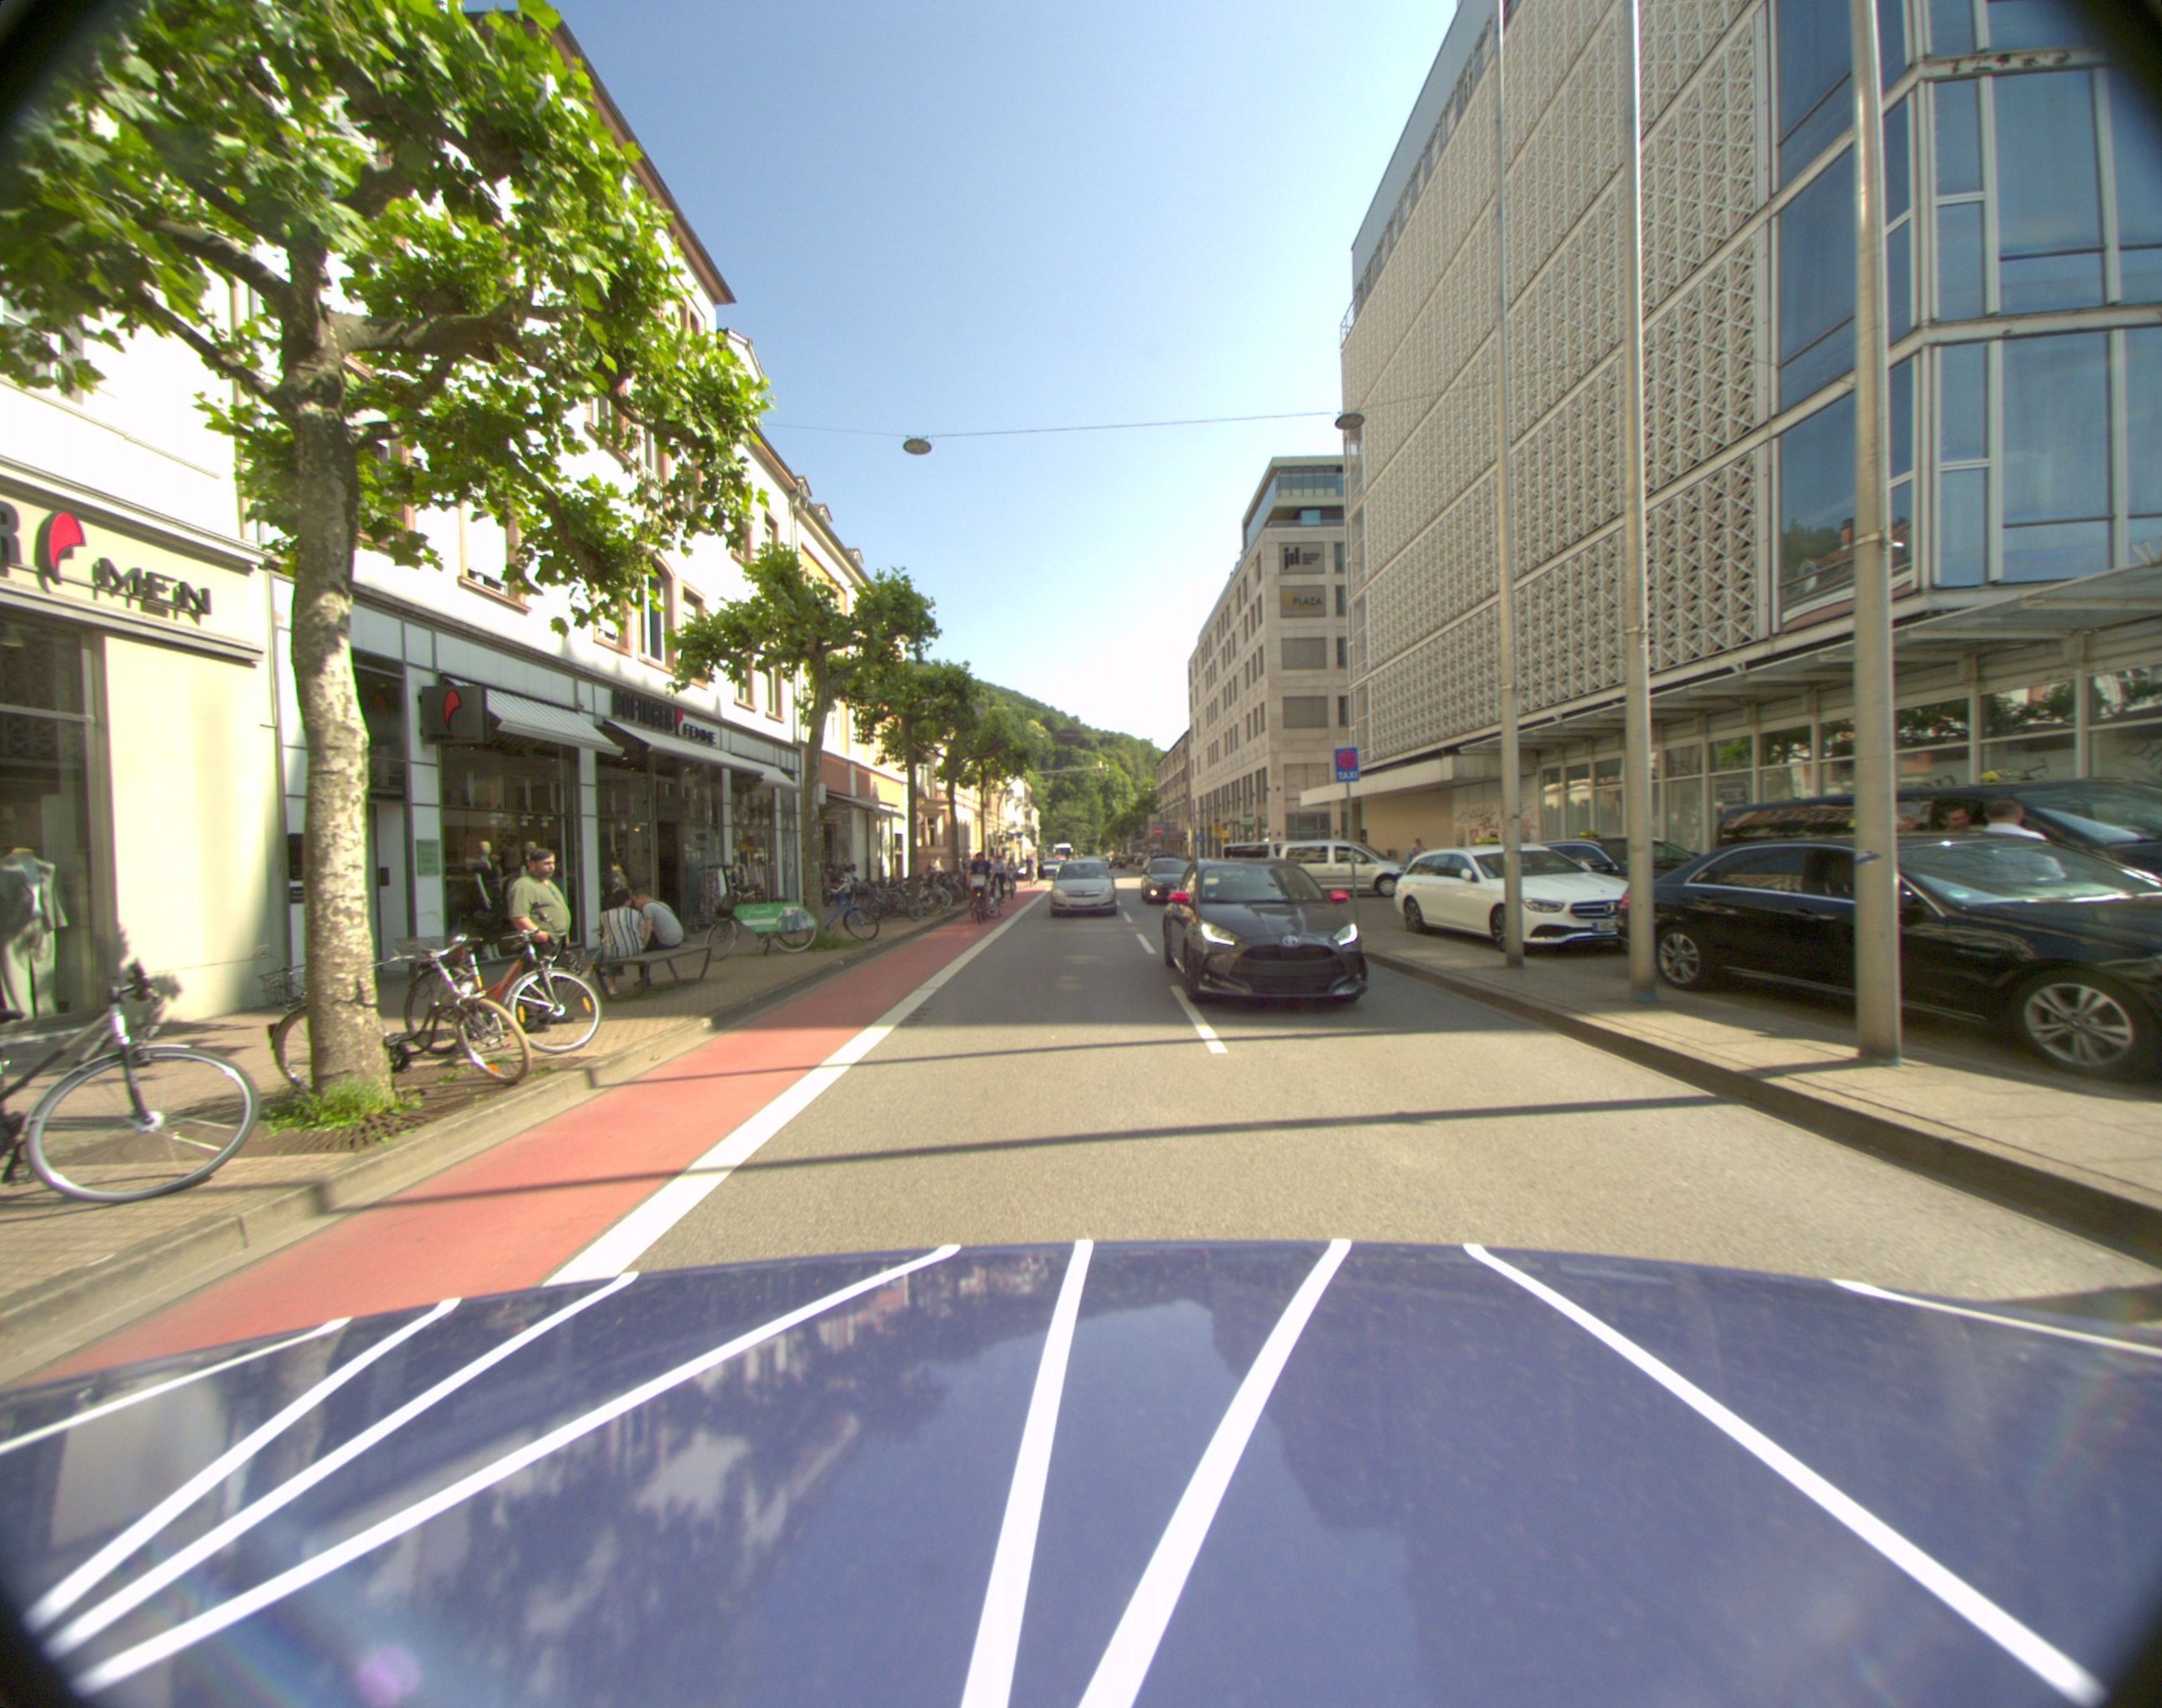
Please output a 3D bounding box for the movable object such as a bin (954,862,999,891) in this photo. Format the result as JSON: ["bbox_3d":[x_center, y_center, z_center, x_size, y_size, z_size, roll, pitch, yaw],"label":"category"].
[{"bbox_3d":[-4.772,1.037,34.698,1.853,1.182,0.653,-3,0,16],"label":"movable object such as a bin"}]

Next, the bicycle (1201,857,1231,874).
[{"bbox_3d":[9.225,0.807,52.044,1.990,1.120,0.800,-1,0,7],"label":"bicycle"}]

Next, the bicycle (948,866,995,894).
[{"bbox_3d":[-4.526,1.074,31.479,1.844,1.120,0.643,-1,2,2],"label":"bicycle"}]

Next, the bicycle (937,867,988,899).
[{"bbox_3d":[-4.499,1.104,28.928,1.844,1.120,0.530,-1,2,2],"label":"bicycle"}]

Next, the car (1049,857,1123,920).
[{"bbox_3d":[0.059,0.875,21.067,1.791,1.484,4.367,-1,0,-2],"label":"car"}]

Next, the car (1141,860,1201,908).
[{"bbox_3d":[2.927,0.934,25.355,1.733,1.389,4.107,-1,1,4],"label":"car"}]

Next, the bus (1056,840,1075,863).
[{"bbox_3d":[-2.510,-0.447,124.837,2.924,3.516,12.497,-1,1,-1],"label":"bus"}]

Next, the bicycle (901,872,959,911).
[{"bbox_3d":[-4.621,1.123,23.232,1.841,1.120,0.449,0,2,29],"label":"bicycle"}]

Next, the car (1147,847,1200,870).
[{"bbox_3d":[7.891,0.392,64.851,4.025,1.593,1.961,-3,1,23],"label":"car"}]

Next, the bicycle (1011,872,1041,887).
[{"bbox_3d":[-3.413,1.597,47.309,1.826,0.839,0.501,-2,1,1],"label":"bicycle"}]

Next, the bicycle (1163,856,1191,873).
[{"bbox_3d":[6.948,0.740,54.981,0.606,1.166,2.059,-4,2,-45],"label":"bicycle"}]

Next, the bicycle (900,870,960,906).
[{"bbox_3d":[-4.958,1.112,24.996,1.844,1.120,0.448,-1,2,3],"label":"bicycle"}]

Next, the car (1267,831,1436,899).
[{"bbox_3d":[8.277,0.355,23.395,4.434,1.898,2.013,-2,0,37],"label":"car"}]

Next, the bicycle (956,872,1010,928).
[{"bbox_3d":[-2.429,1.113,19.113,0.733,1.261,2.284,-3,-1,8],"label":"bicycle"}]

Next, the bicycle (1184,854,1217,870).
[{"bbox_3d":[9.137,0.622,58.140,2.324,1.120,0.563,-4,1,25],"label":"bicycle"}]

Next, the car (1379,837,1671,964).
[{"bbox_3d":[6.504,0.595,11.916,1.803,1.514,4.739,-3,0,1],"label":"car"}]

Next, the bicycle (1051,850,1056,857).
[{"bbox_3d":[-4.615,-0.079,127.609,0.743,1.120,2.573,0,1,2],"label":"bicycle"}]

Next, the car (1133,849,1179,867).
[{"bbox_3d":[8.103,0.433,82.264,4.492,1.424,1.865,-6,0,20],"label":"car"}]

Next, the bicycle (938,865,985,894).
[{"bbox_3d":[-5.023,1.073,32.091,1.844,1.120,0.666,-1,2,2],"label":"bicycle"}]

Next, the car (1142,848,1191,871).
[{"bbox_3d":[7.683,0.483,68.263,4.165,1.627,2.103,-5,0,9],"label":"car"}]

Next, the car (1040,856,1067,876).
[{"bbox_3d":[-2.167,0.898,61.017,1.957,1.416,4.885,-3,0,-1],"label":"car"}]

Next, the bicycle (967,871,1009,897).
[{"bbox_3d":[-4.376,1.401,35.941,1.855,0.396,1.014,-9,35,5],"label":"bicycle"}]

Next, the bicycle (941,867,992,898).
[{"bbox_3d":[-4.440,1.096,29.619,1.844,1.120,0.666,-1,2,2],"label":"bicycle"}]

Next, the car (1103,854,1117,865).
[{"bbox_3d":[3.772,0.734,99.260,1.734,1.389,4.106,-2,0,1],"label":"car"}]

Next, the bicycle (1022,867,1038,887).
[{"bbox_3d":[-2.919,1.317,43.701,0.664,1.111,1.992,-1,0,2],"label":"bicycle"}]

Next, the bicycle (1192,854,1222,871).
[{"bbox_3d":[9.206,0.627,55.635,2.059,1.120,0.648,-2,0,27],"label":"bicycle"}]

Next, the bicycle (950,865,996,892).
[{"bbox_3d":[-4.686,1.055,33.057,1.844,1.120,0.666,-1,2,2],"label":"bicycle"}]

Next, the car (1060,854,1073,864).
[{"bbox_3d":[-2.218,0.698,114.336,1.868,1.479,4.414,-2,0,-2],"label":"car"}]

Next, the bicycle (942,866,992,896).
[{"bbox_3d":[-4.558,1.073,30.433,1.844,1.120,0.666,-1,2,2],"label":"bicycle"}]

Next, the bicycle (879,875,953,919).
[{"bbox_3d":[-4.505,1.166,20.847,1.844,1.087,0.564,-3,1,1],"label":"bicycle"}]

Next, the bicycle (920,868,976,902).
[{"bbox_3d":[-4.821,1.113,27.528,1.844,1.120,0.679,-2,2,3],"label":"bicycle"}]

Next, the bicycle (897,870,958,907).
[{"bbox_3d":[-4.945,1.115,24.536,1.844,1.120,0.448,-1,2,3],"label":"bicycle"}]

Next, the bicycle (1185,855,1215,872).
[{"bbox_3d":[8.546,0.696,54.499,2.058,1.162,0.606,0,2,37],"label":"bicycle"}]

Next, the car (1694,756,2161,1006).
[{"bbox_3d":[9.586,0.183,8.403,1.836,2.002,4.685,-2,0,1],"label":"car"}]

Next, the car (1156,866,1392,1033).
[{"bbox_3d":[1.916,0.883,8.821,1.868,1.469,4.108,0,-1,2],"label":"car"}]

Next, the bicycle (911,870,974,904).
[{"bbox_3d":[-4.826,1.145,26.510,1.988,1.120,0.762,-1,2,13],"label":"bicycle"}]

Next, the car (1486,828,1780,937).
[{"bbox_3d":[9.783,0.425,14.027,1.999,1.601,4.398,-3,1,-4],"label":"car"}]

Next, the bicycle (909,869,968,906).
[{"bbox_3d":[-4.848,1.141,25.796,1.843,1.120,0.530,-3,1,13],"label":"bicycle"}]

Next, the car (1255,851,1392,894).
[{"bbox_3d":[8.670,0.659,27.251,4.288,1.279,1.974,-3,0,32],"label":"car"}]

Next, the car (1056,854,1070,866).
[{"bbox_3d":[-2.459,0.800,103.611,1.799,1.516,4.262,-5,1,-2],"label":"car"}]

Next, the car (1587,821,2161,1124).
[{"bbox_3d":[6.544,0.596,6.117,1.765,1.591,4.709,-2,0,0],"label":"car"}]

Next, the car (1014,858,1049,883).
[{"bbox_3d":[-3.474,1.144,53.988,1.631,1.470,3.732,-2,3,9],"label":"car"}]
